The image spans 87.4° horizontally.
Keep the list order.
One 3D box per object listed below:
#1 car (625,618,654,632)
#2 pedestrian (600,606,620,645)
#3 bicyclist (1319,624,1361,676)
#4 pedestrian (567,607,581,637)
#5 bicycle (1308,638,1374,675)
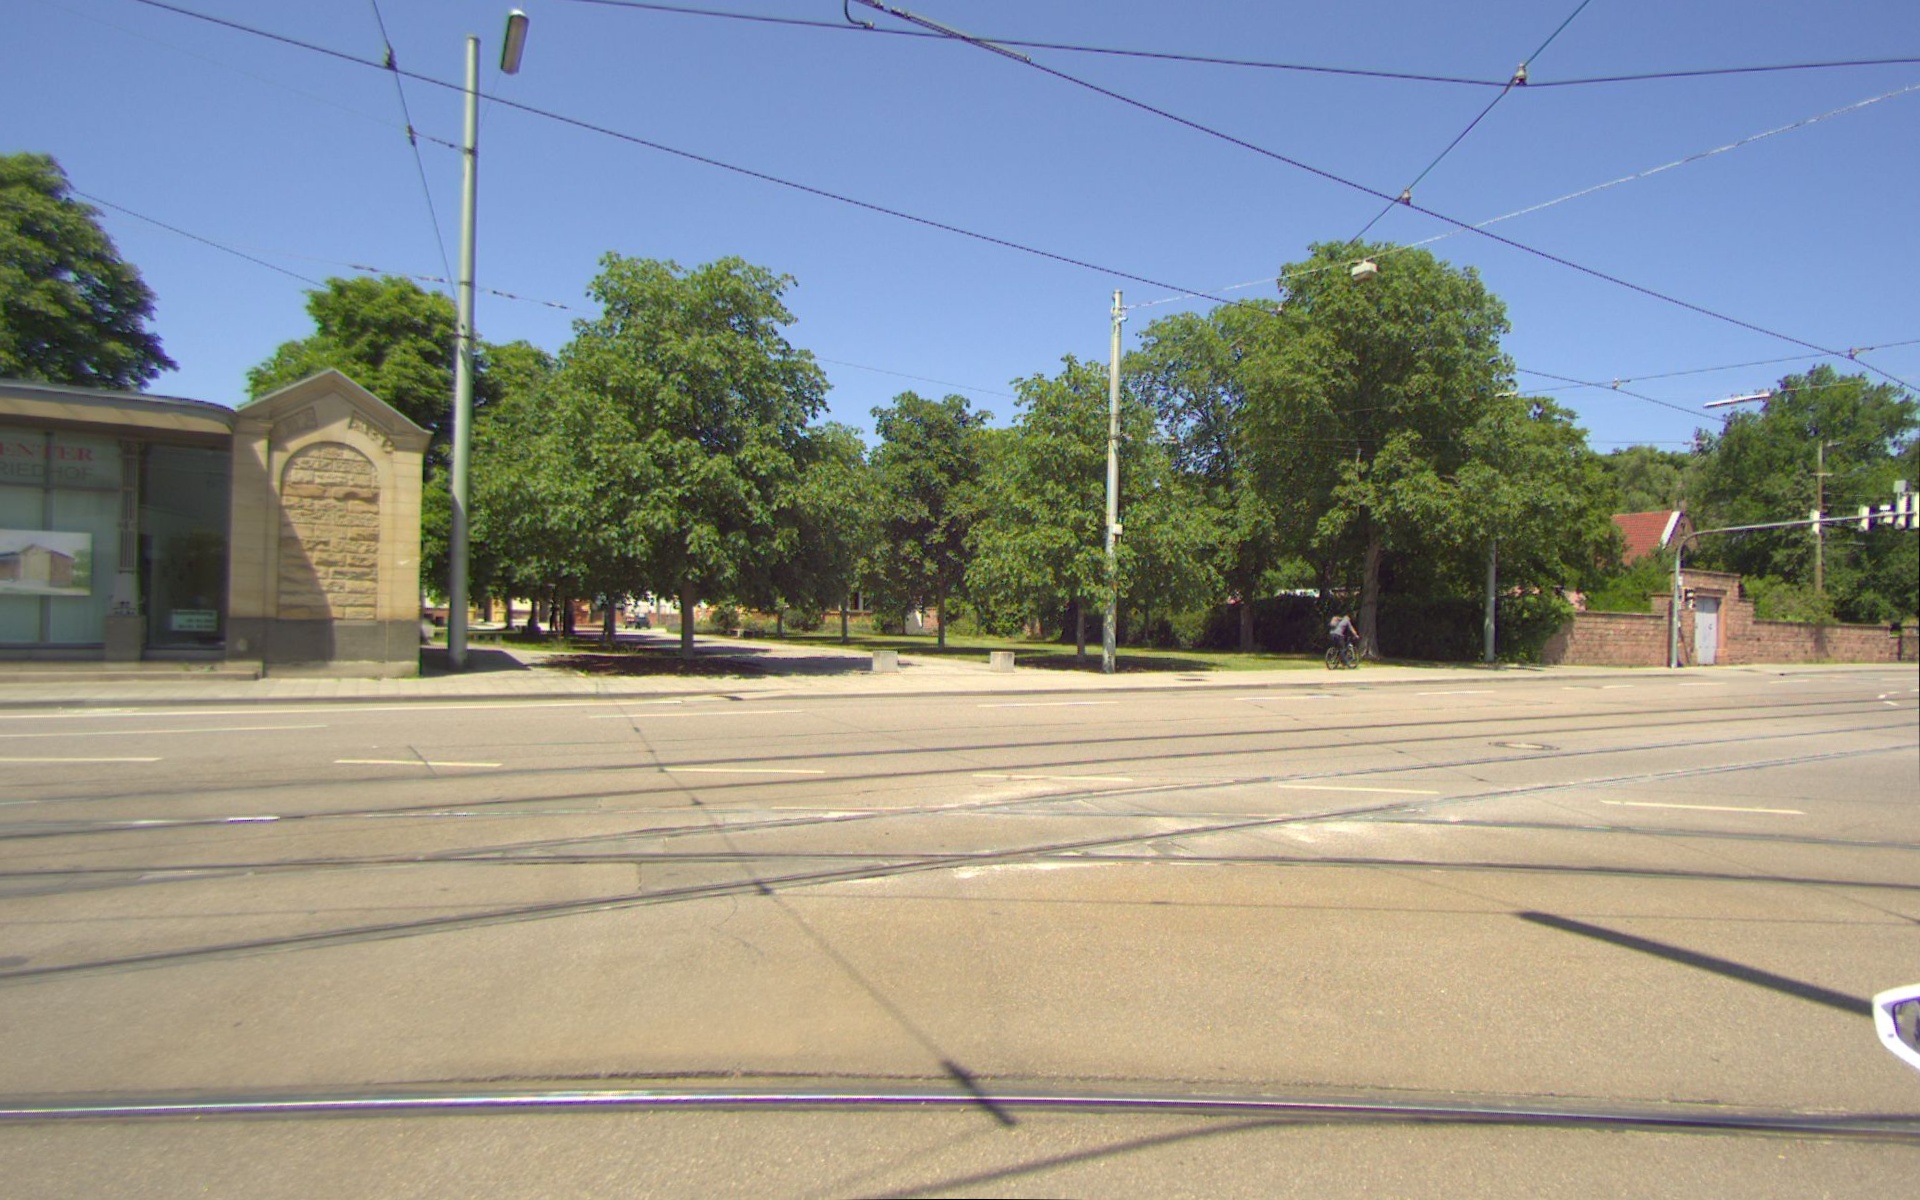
[{"bbox_3d":[-22.690,1.776,71.121,1.316,0.964,2.713,2,-1,-31],"label":"car"},{"bbox_3d":[-15.067,1.091,43.298,0.704,1.669,0.524,1,0,-31],"label":"pedestrian"},{"bbox_3d":[11.490,1.506,30.383,0.835,1.551,0.846,2,-1,-30],"label":"bicyclist"},{"bbox_3d":[-19.206,1.092,49.929,0.526,1.503,0.524,2,-1,-32],"label":"pedestrian"},{"bbox_3d":[11.541,1.702,30.380,2.079,1.055,0.711,2,-1,-30],"label":"bicycle"}]
